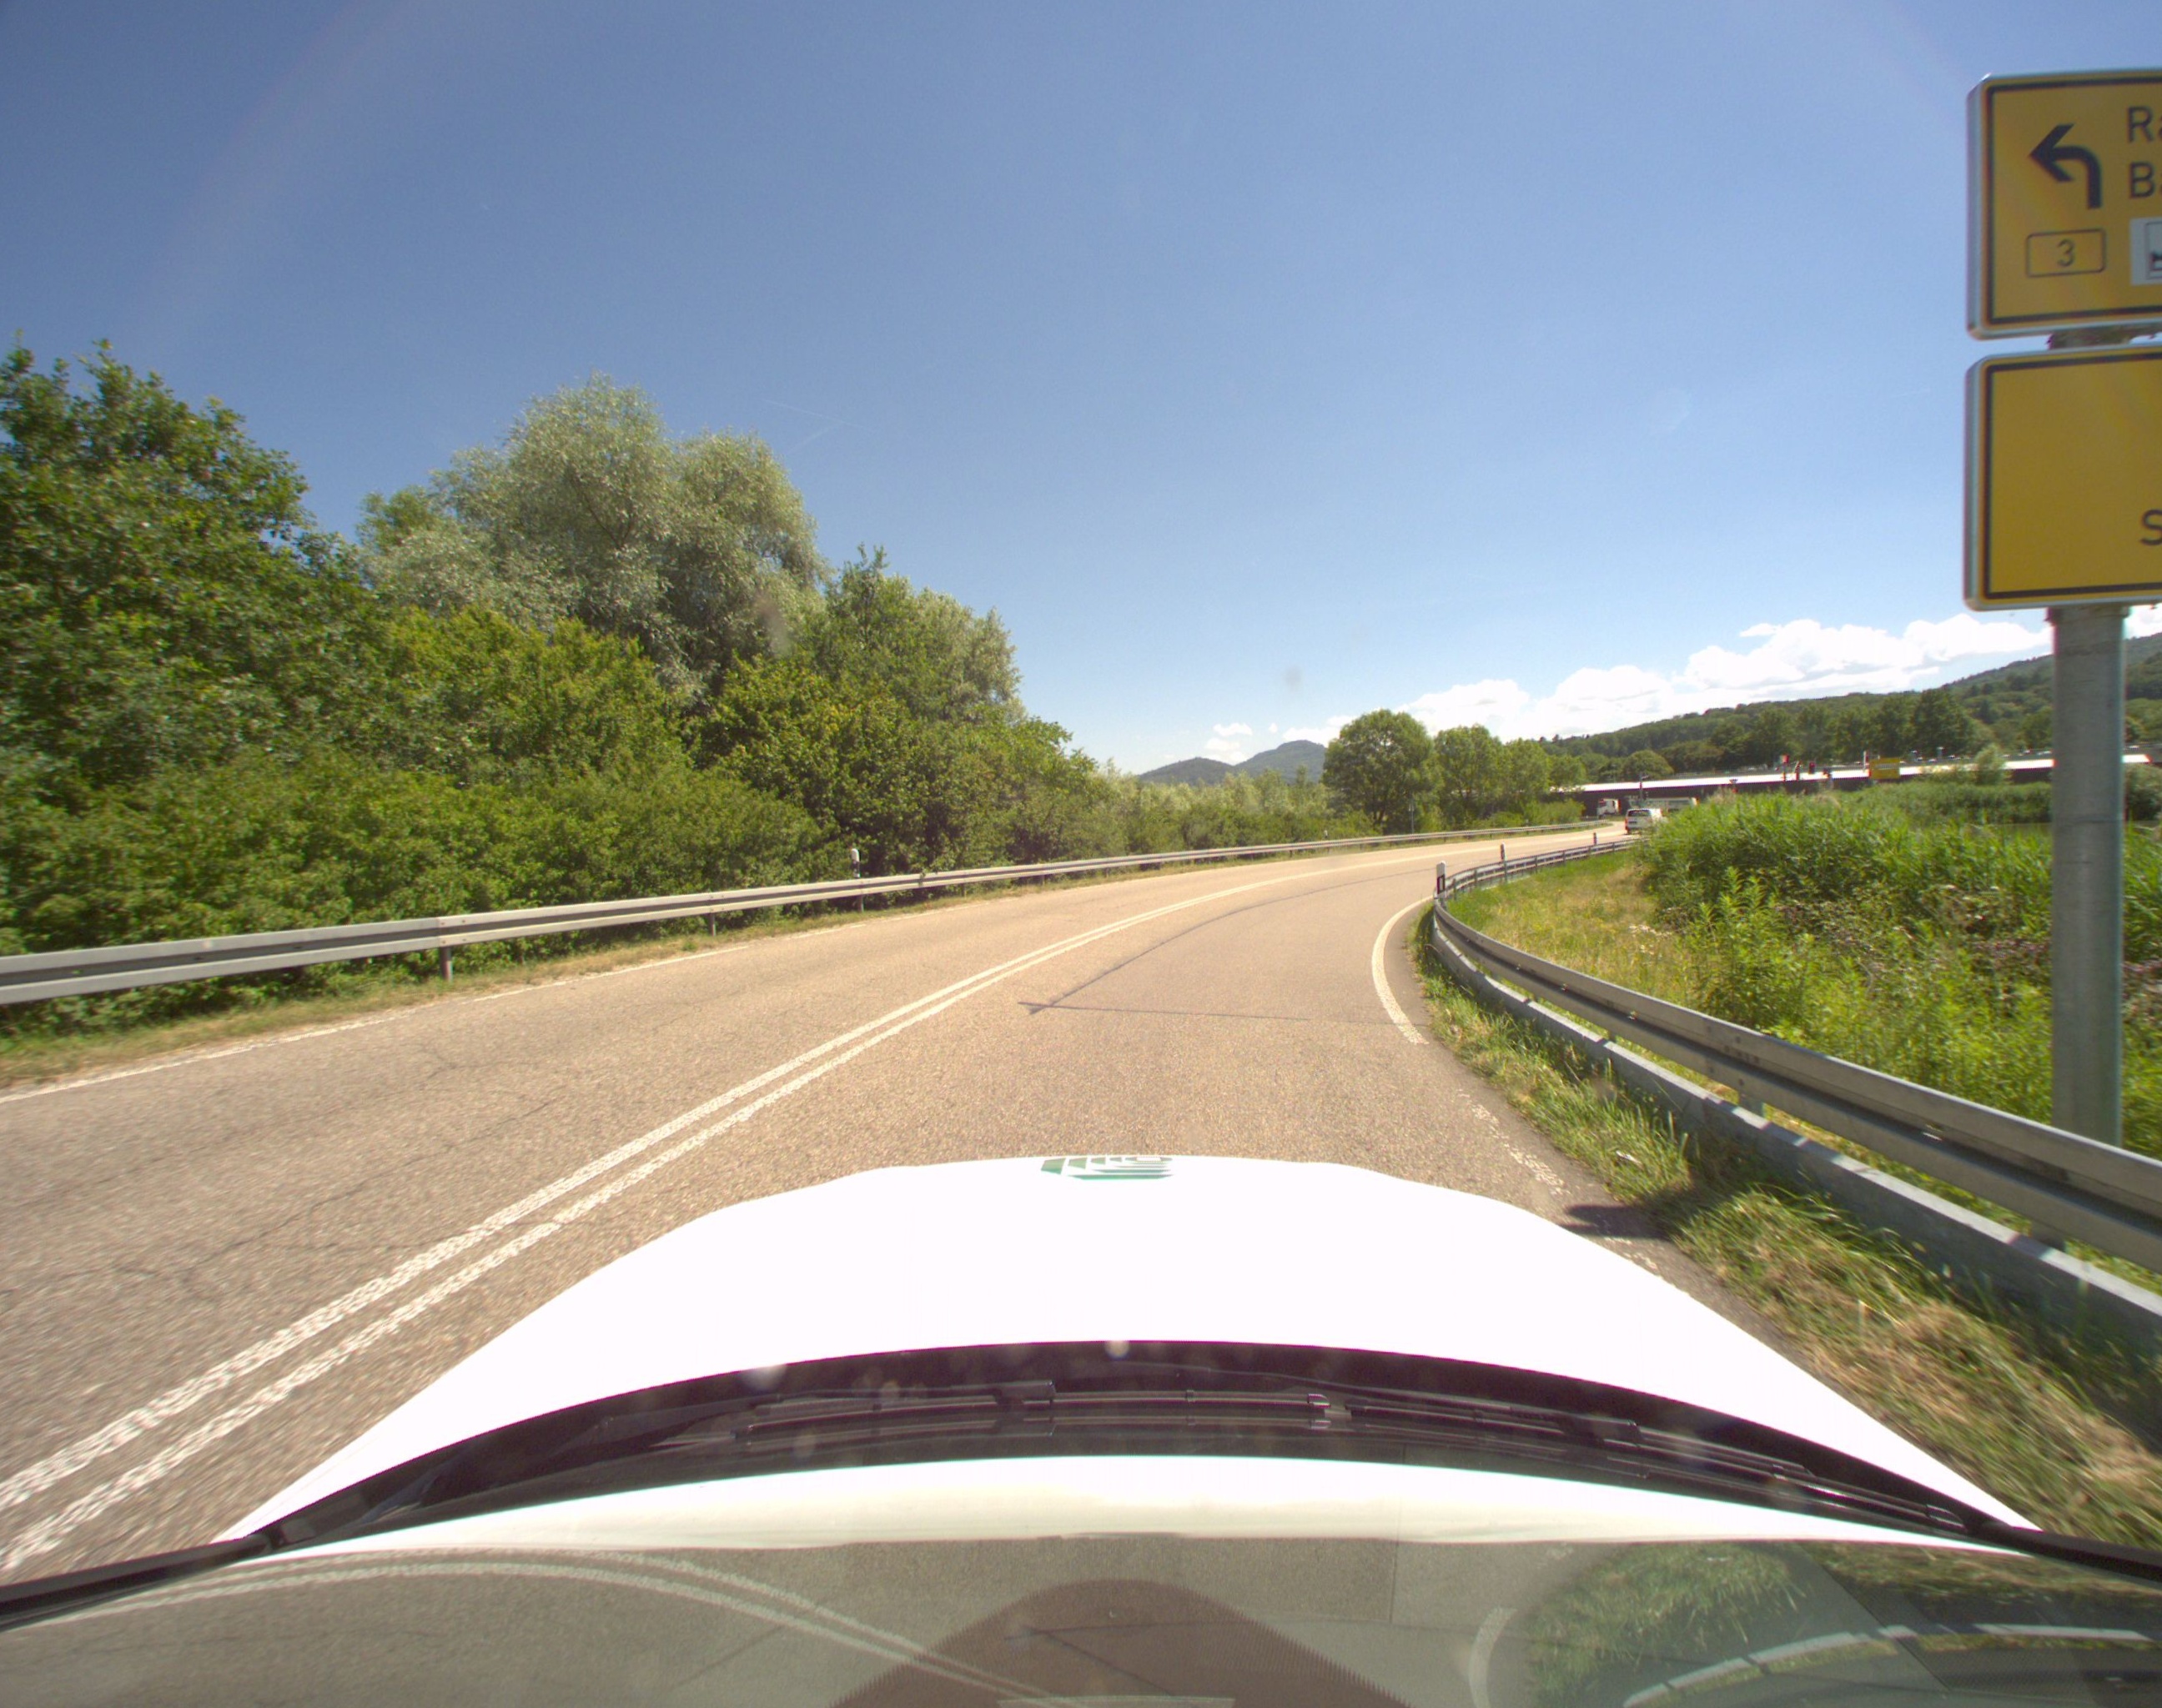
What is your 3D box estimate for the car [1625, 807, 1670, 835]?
[{"bbox_3d":[42.962,-2.496,61.763,4.022,1.964,1.854,-4,3,-41],"label":"car"}]
